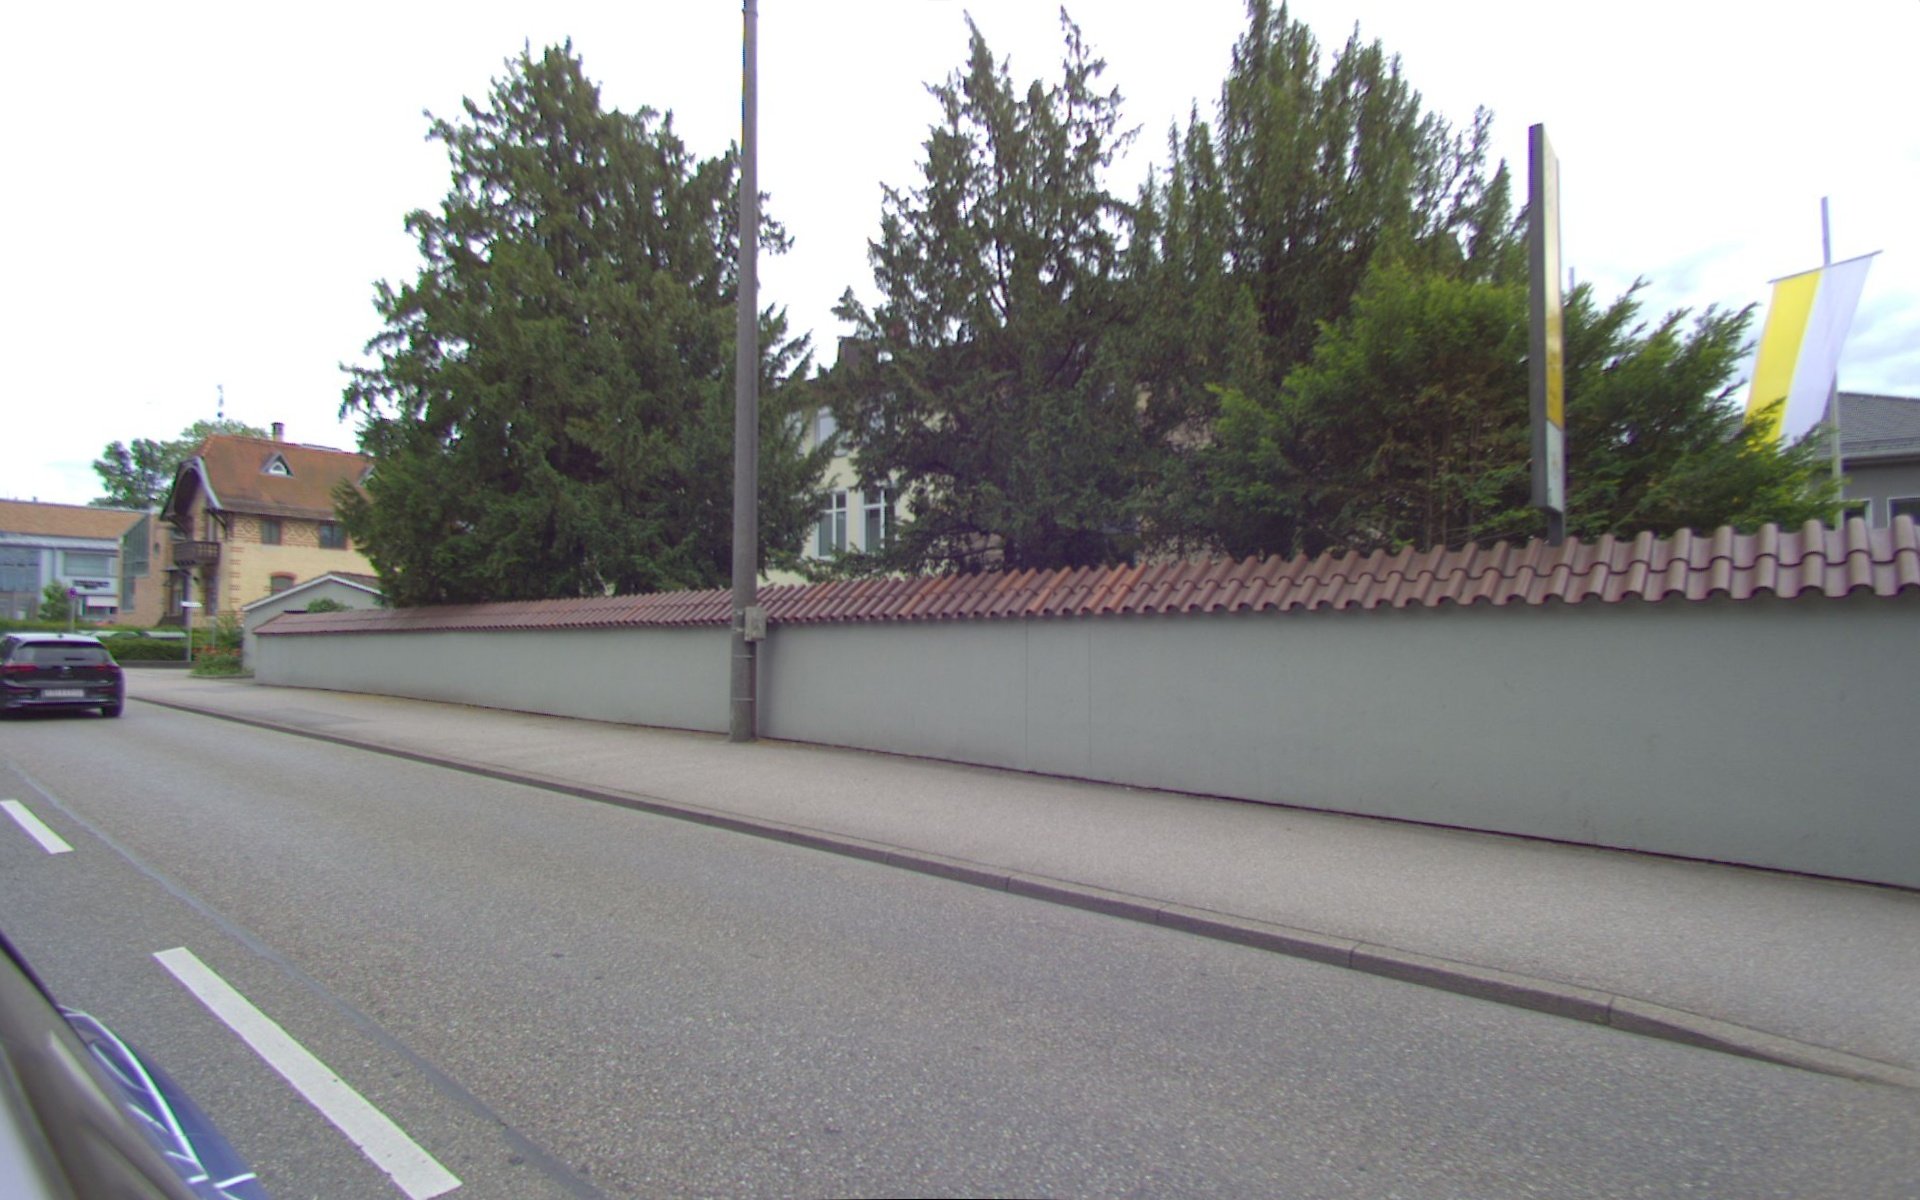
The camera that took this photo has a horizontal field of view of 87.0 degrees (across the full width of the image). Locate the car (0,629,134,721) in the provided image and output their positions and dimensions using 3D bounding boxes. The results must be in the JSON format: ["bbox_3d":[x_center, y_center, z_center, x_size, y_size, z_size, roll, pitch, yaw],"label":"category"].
[{"bbox_3d":[-16.105,1.251,17.696,3.995,1.439,1.768,-2,-3,39],"label":"car"}]
